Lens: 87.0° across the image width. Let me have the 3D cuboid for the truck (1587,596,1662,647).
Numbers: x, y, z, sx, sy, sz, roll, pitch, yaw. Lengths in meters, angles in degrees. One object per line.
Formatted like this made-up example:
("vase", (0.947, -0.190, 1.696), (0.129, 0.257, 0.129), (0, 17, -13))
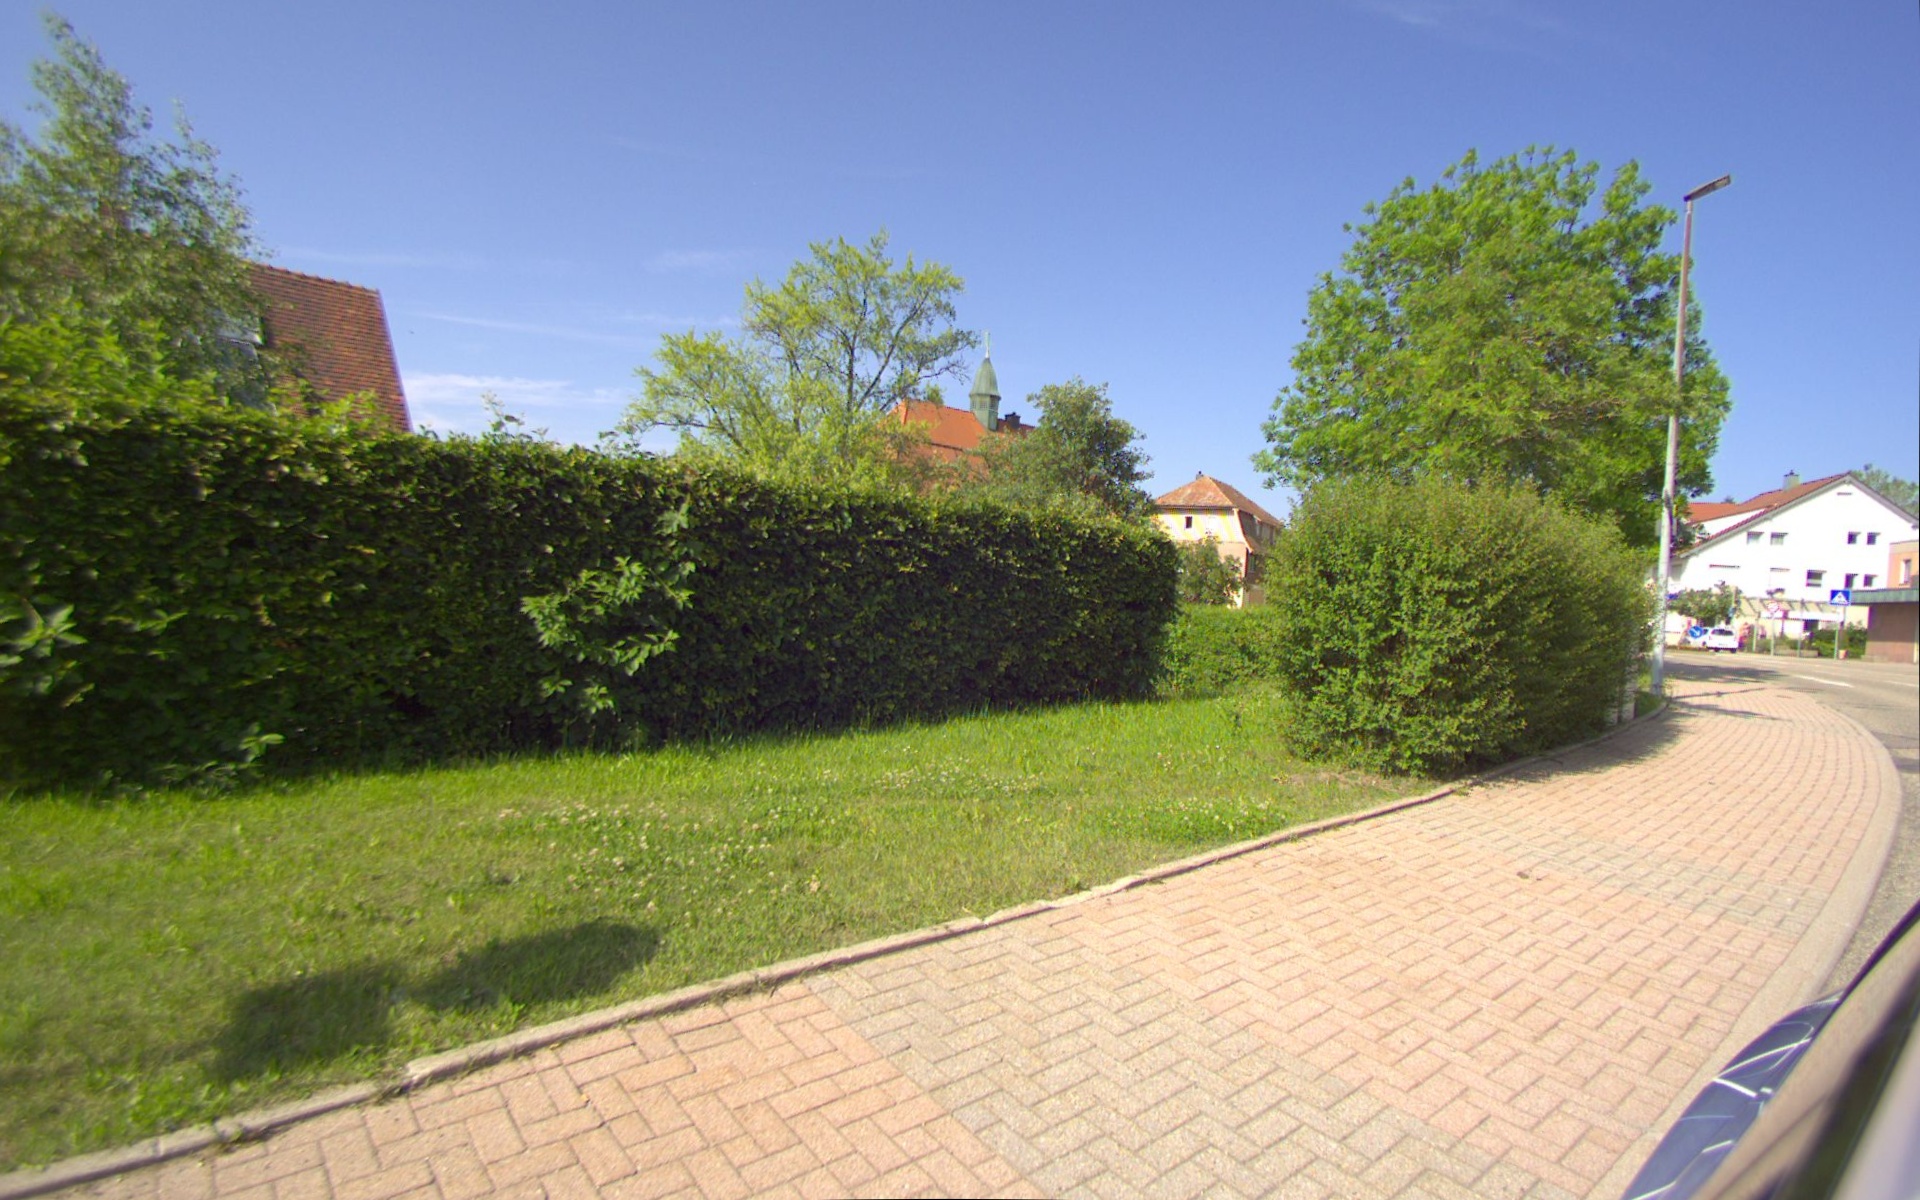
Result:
("truck", (33.307, 1.088, 50.912), (1.977, 2.372, 6.442), (0, -2, 23))

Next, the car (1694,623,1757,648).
("car", (46.306, 2.122, 61.301), (1.751, 1.487, 3.694), (-1, -1, 16))
